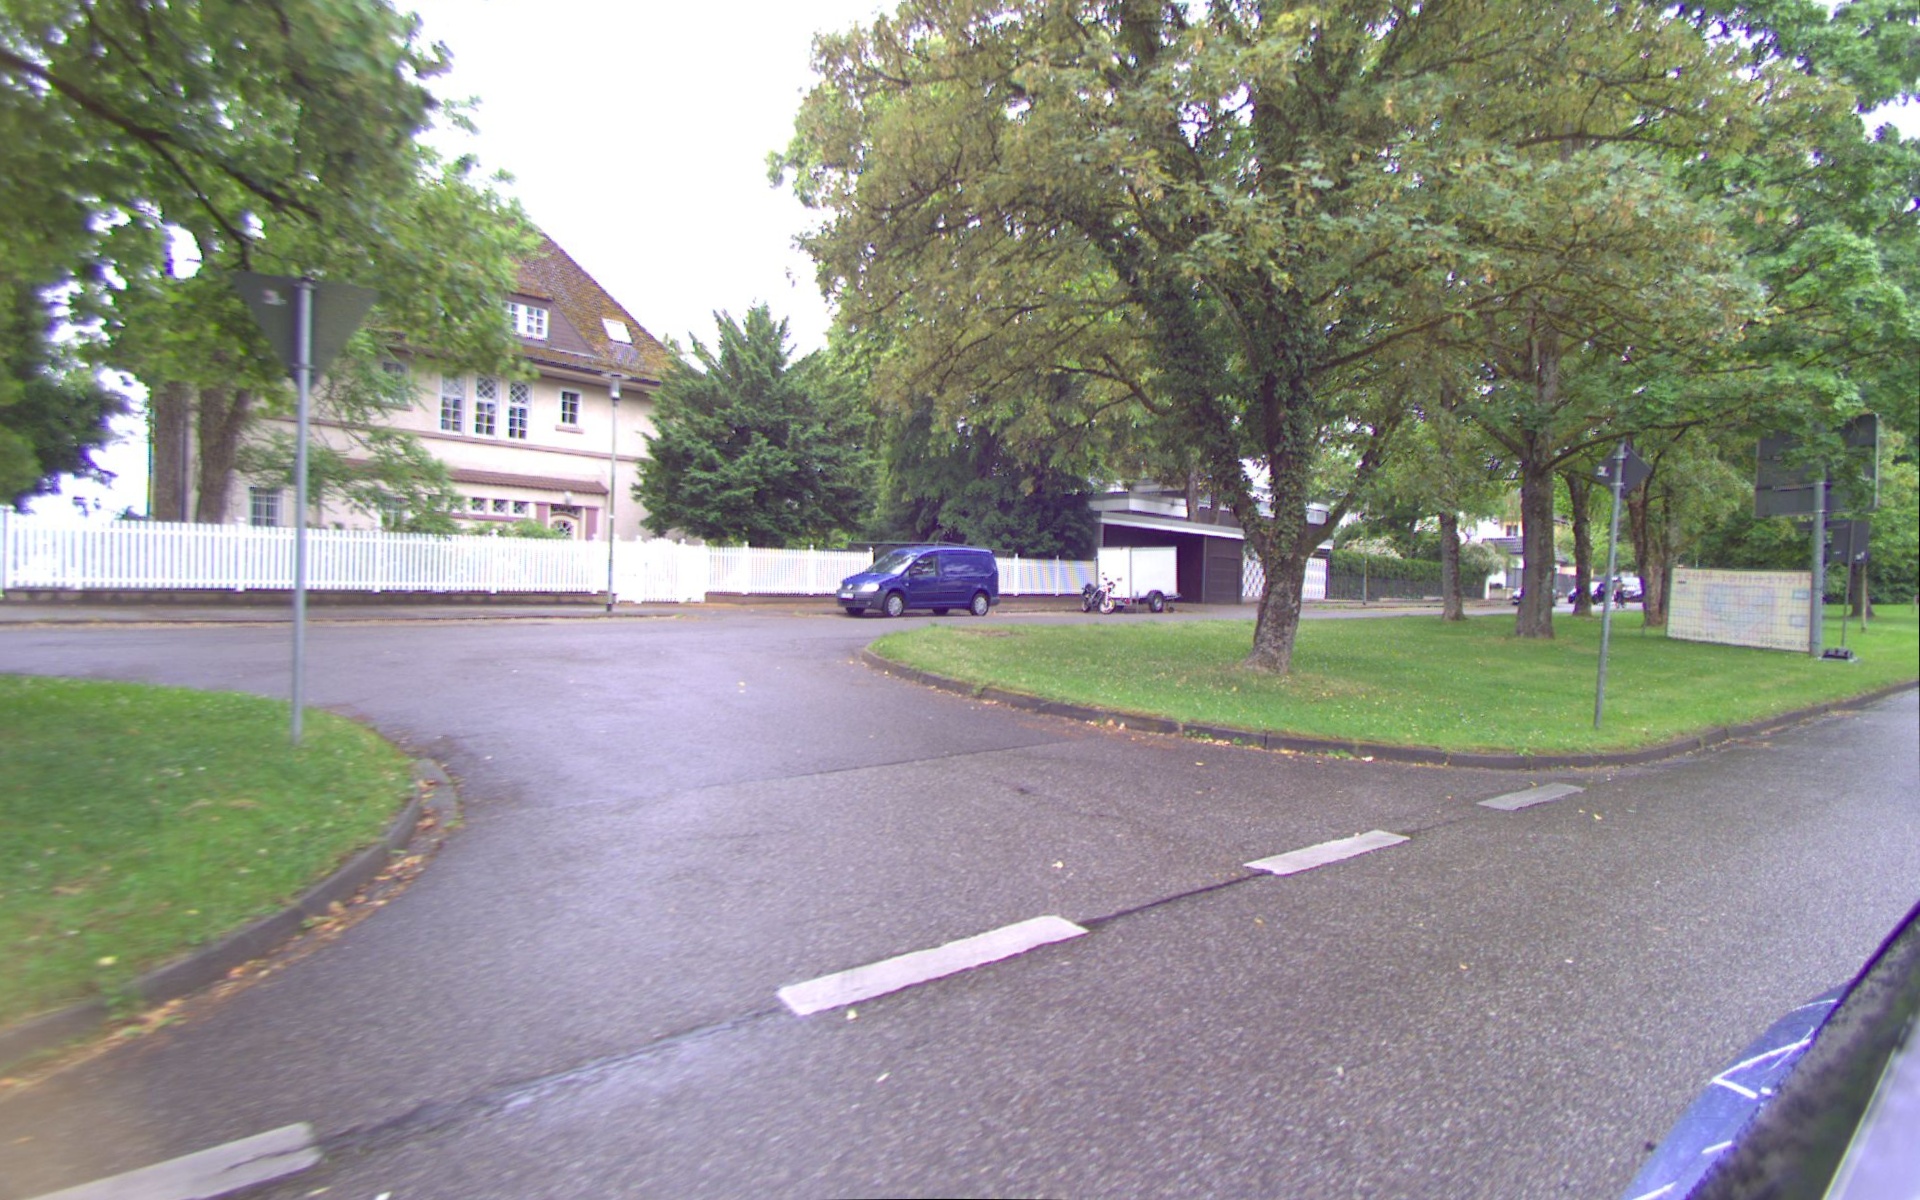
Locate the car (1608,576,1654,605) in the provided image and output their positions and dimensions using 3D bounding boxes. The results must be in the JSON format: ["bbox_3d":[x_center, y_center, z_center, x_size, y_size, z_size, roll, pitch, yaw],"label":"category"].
[{"bbox_3d":[51.910,-0.755,78.247,3.931,2.039,1.996,3,1,-43],"label":"car"}]

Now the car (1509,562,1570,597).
[{"bbox_3d":[35.263,-1.244,61.566,3.930,2.038,1.998,0,2,-41],"label":"car"}]

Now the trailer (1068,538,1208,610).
[{"bbox_3d":[5.812,-0.796,32.618,5.106,2.143,1.768,-1,0,-43],"label":"trailer"}]

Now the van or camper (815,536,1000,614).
[{"bbox_3d":[-1.268,-0.609,26.145,1.994,1.831,4.699,0,0,44],"label":"van or camper"}]
